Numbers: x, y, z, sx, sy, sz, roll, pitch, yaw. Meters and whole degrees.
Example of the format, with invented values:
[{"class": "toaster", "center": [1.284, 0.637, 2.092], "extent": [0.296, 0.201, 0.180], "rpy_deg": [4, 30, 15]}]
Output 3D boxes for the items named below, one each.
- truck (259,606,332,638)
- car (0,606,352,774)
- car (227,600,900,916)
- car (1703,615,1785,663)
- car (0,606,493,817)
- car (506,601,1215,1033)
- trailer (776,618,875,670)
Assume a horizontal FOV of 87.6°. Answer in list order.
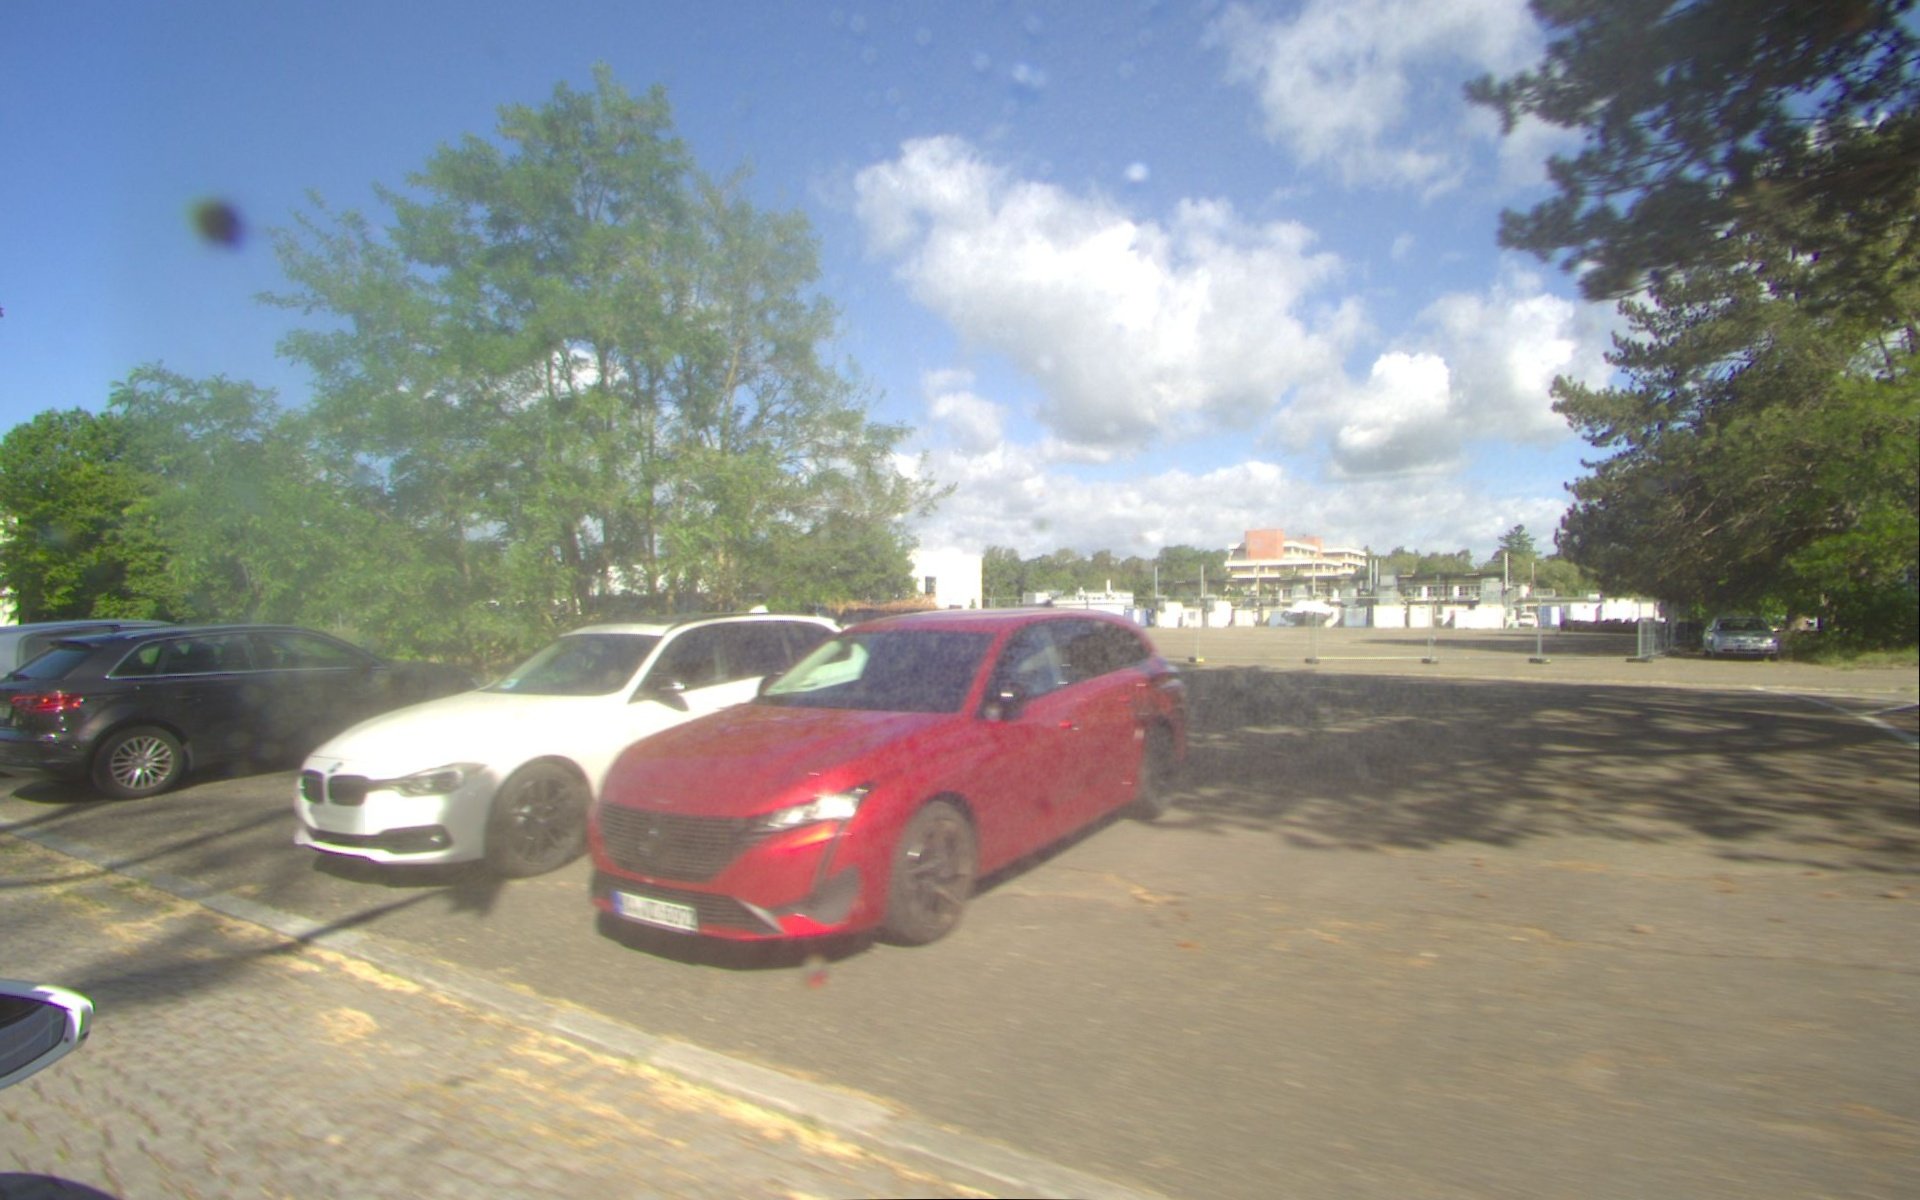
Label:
[{"class": "truck", "center": [-51.775, 1.736, 77.969], "extent": [6.789, 2.454, 2.229], "rpy_deg": [-1, -2, 33]}, {"class": "car", "center": [-9.327, 0.901, 11.368], "extent": [1.727, 1.496, 3.731], "rpy_deg": [-1, 2, 32]}, {"class": "car", "center": [-2.464, 0.823, 7.495], "extent": [1.812, 1.484, 4.504], "rpy_deg": [-1, 1, 30]}, {"class": "car", "center": [25.915, 1.247, 33.209], "extent": [1.720, 1.441, 3.978], "rpy_deg": [1, 0, 33]}, {"class": "car", "center": [-7.034, 0.879, 9.929], "extent": [1.817, 1.461, 3.994], "rpy_deg": [0, 2, 32]}, {"class": "car", "center": [-0.094, 0.808, 6.052], "extent": [1.867, 1.440, 4.525], "rpy_deg": [-1, 1, 32]}, {"class": "trailer", "center": [-3.070, 1.002, 23.110], "extent": [1.020, 1.119, 2.397], "rpy_deg": [0, -2, 30]}]
